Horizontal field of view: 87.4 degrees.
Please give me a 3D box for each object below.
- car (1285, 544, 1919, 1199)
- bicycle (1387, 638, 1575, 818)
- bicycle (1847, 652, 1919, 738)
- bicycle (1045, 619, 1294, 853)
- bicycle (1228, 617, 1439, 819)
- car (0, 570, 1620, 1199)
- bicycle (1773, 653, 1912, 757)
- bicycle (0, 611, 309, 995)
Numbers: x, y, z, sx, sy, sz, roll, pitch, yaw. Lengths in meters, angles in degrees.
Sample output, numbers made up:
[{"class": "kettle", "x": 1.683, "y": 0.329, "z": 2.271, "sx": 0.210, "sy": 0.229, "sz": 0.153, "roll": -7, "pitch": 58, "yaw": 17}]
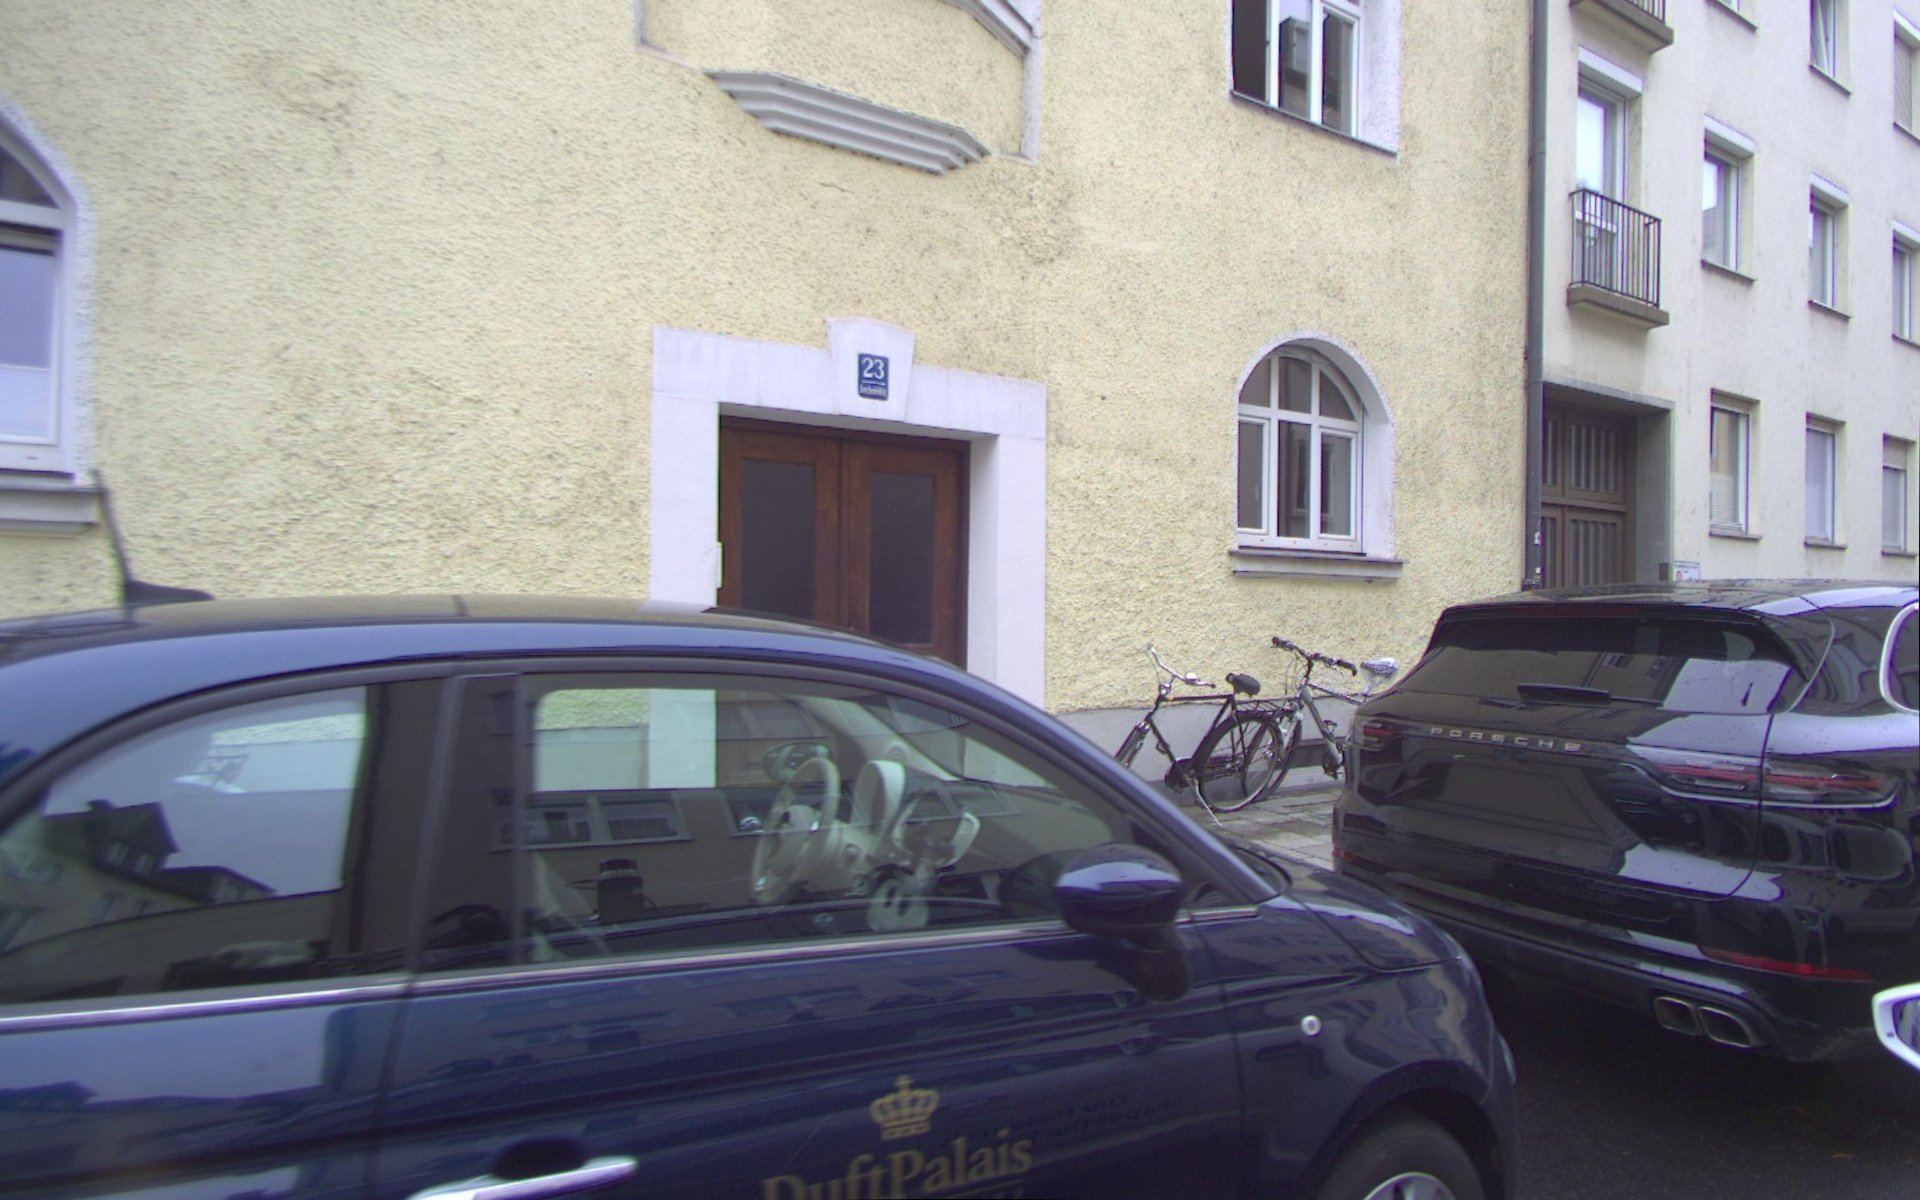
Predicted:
[{"class": "car", "x": 3.665, "y": 0.771, "z": 4.307, "sx": 4.360, "sy": 1.682, "sz": 1.871, "roll": 1, "pitch": -2, "yaw": -29}, {"class": "bicycle", "x": 4.215, "y": 0.978, "z": 8.099, "sx": 1.534, "sy": 1.296, "sz": 0.590, "roll": 2, "pitch": 2, "yaw": -32}, {"class": "bicycle", "x": 12.120, "y": 1.191, "z": 12.925, "sx": 1.839, "sy": 1.012, "sz": 0.510, "roll": 2, "pitch": 2, "yaw": -32}, {"class": "bicycle", "x": 1.331, "y": 0.794, "z": 6.293, "sx": 1.534, "sy": 1.296, "sz": 0.532, "roll": 2, "pitch": 2, "yaw": -32}, {"class": "bicycle", "x": 2.683, "y": 0.794, "z": 7.168, "sx": 1.534, "sy": 1.296, "sz": 0.532, "roll": 2, "pitch": 2, "yaw": -32}, {"class": "car", "x": -0.510, "y": 0.745, "z": 1.919, "sx": 3.433, "sy": 1.479, "sz": 1.556, "roll": 1, "pitch": -2, "yaw": -29}, {"class": "bicycle", "x": 10.178, "y": 1.169, "z": 11.568, "sx": 1.794, "sy": 1.041, "sz": 0.726, "roll": 1, "pitch": 1, "yaw": -33}, {"class": "bicycle", "x": -3.344, "y": 0.670, "z": 3.527, "sx": 1.717, "sy": 1.250, "sz": 0.590, "roll": 2, "pitch": 0, "yaw": -31}]
